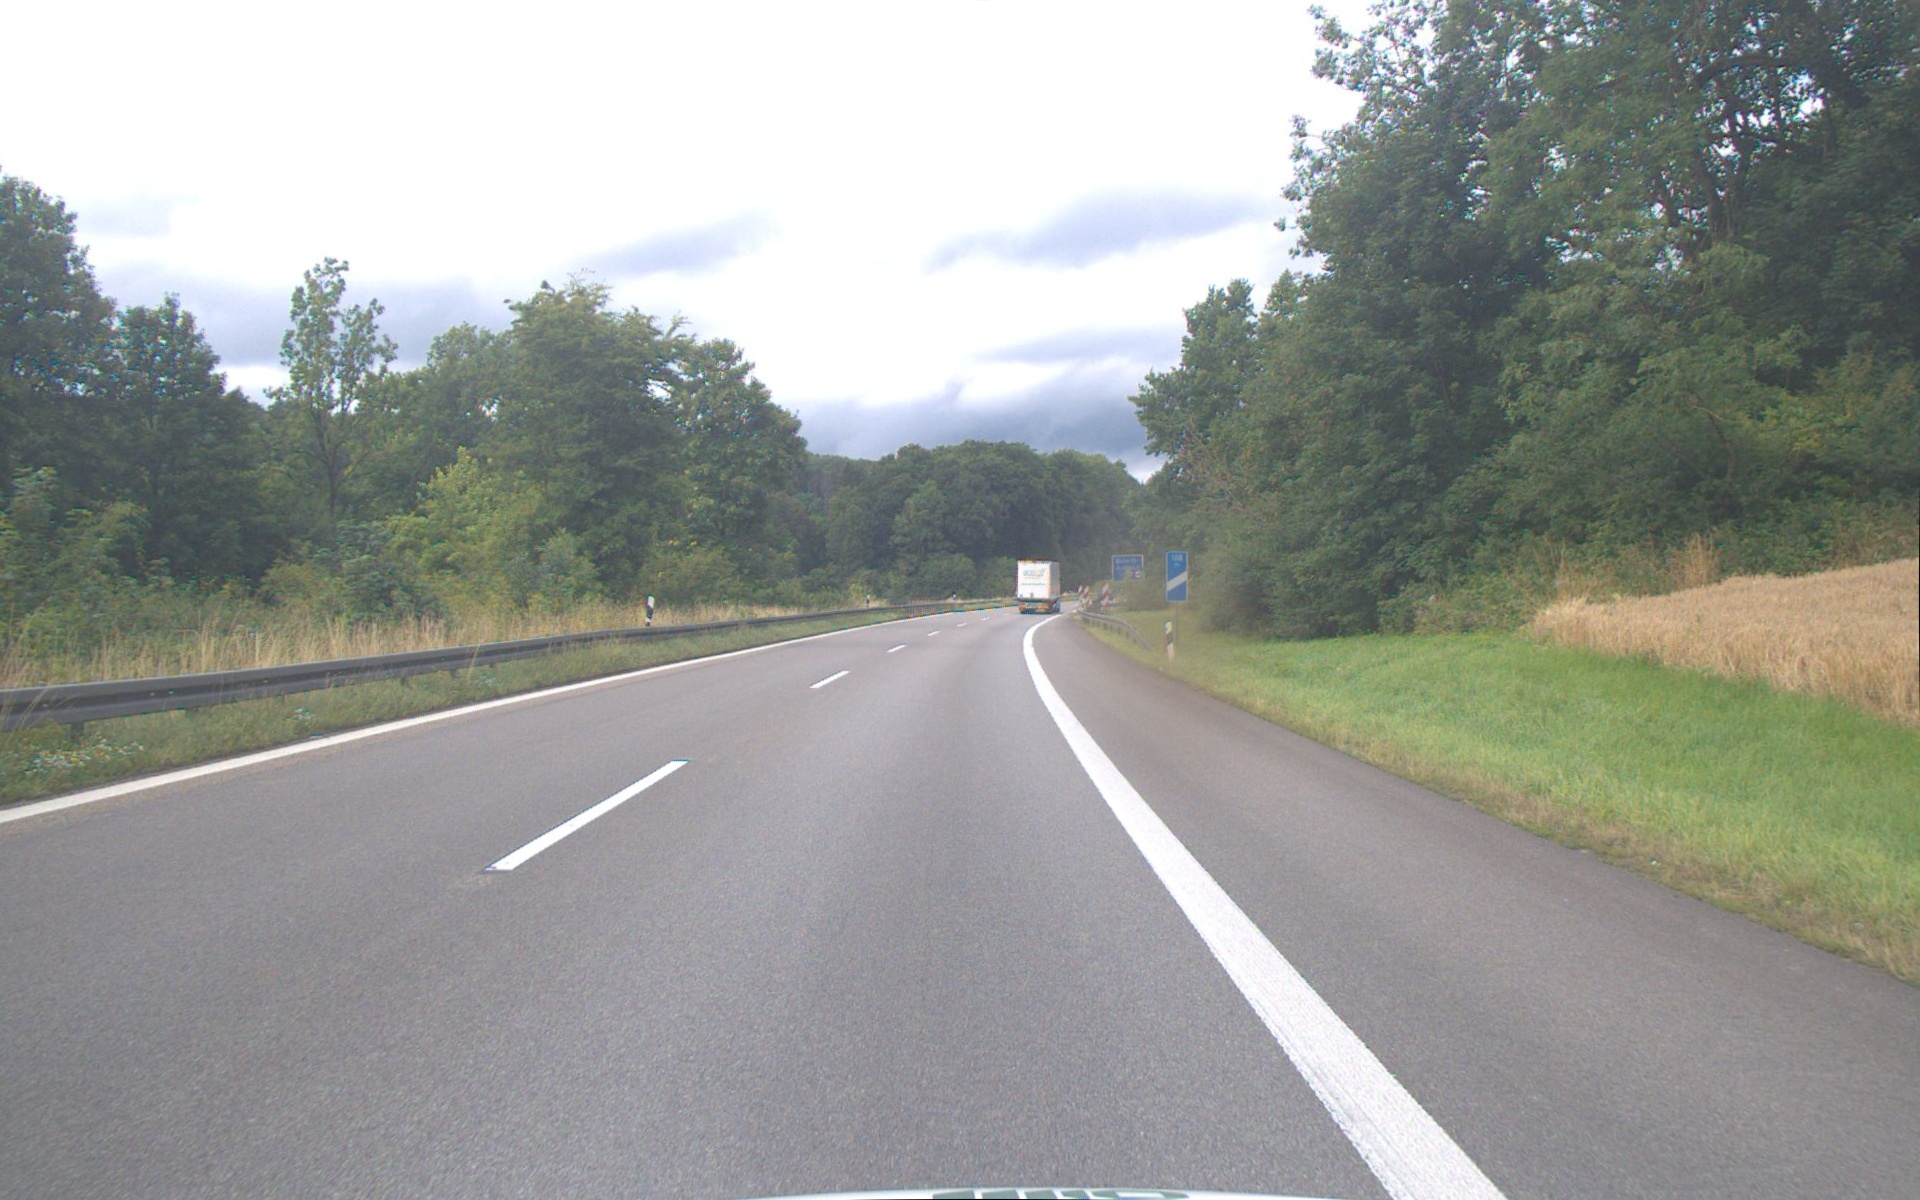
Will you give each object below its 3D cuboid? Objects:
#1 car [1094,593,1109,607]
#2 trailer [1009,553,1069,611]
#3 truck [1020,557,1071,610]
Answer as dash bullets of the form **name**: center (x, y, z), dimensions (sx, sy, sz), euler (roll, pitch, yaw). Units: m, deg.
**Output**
- **car**: center (20.073, -0.022, 234.658), dimensions (1.862, 1.827, 4.003), euler (1, -1, 8)
- **trailer**: center (6.391, -1.366, 130.685), dimensions (3.725, 4.247, 14.819), euler (0, 0, 7)
- **truck**: center (7.153, -1.353, 137.253), dimensions (3.707, 4.204, 8.271), euler (0, 0, 7)
